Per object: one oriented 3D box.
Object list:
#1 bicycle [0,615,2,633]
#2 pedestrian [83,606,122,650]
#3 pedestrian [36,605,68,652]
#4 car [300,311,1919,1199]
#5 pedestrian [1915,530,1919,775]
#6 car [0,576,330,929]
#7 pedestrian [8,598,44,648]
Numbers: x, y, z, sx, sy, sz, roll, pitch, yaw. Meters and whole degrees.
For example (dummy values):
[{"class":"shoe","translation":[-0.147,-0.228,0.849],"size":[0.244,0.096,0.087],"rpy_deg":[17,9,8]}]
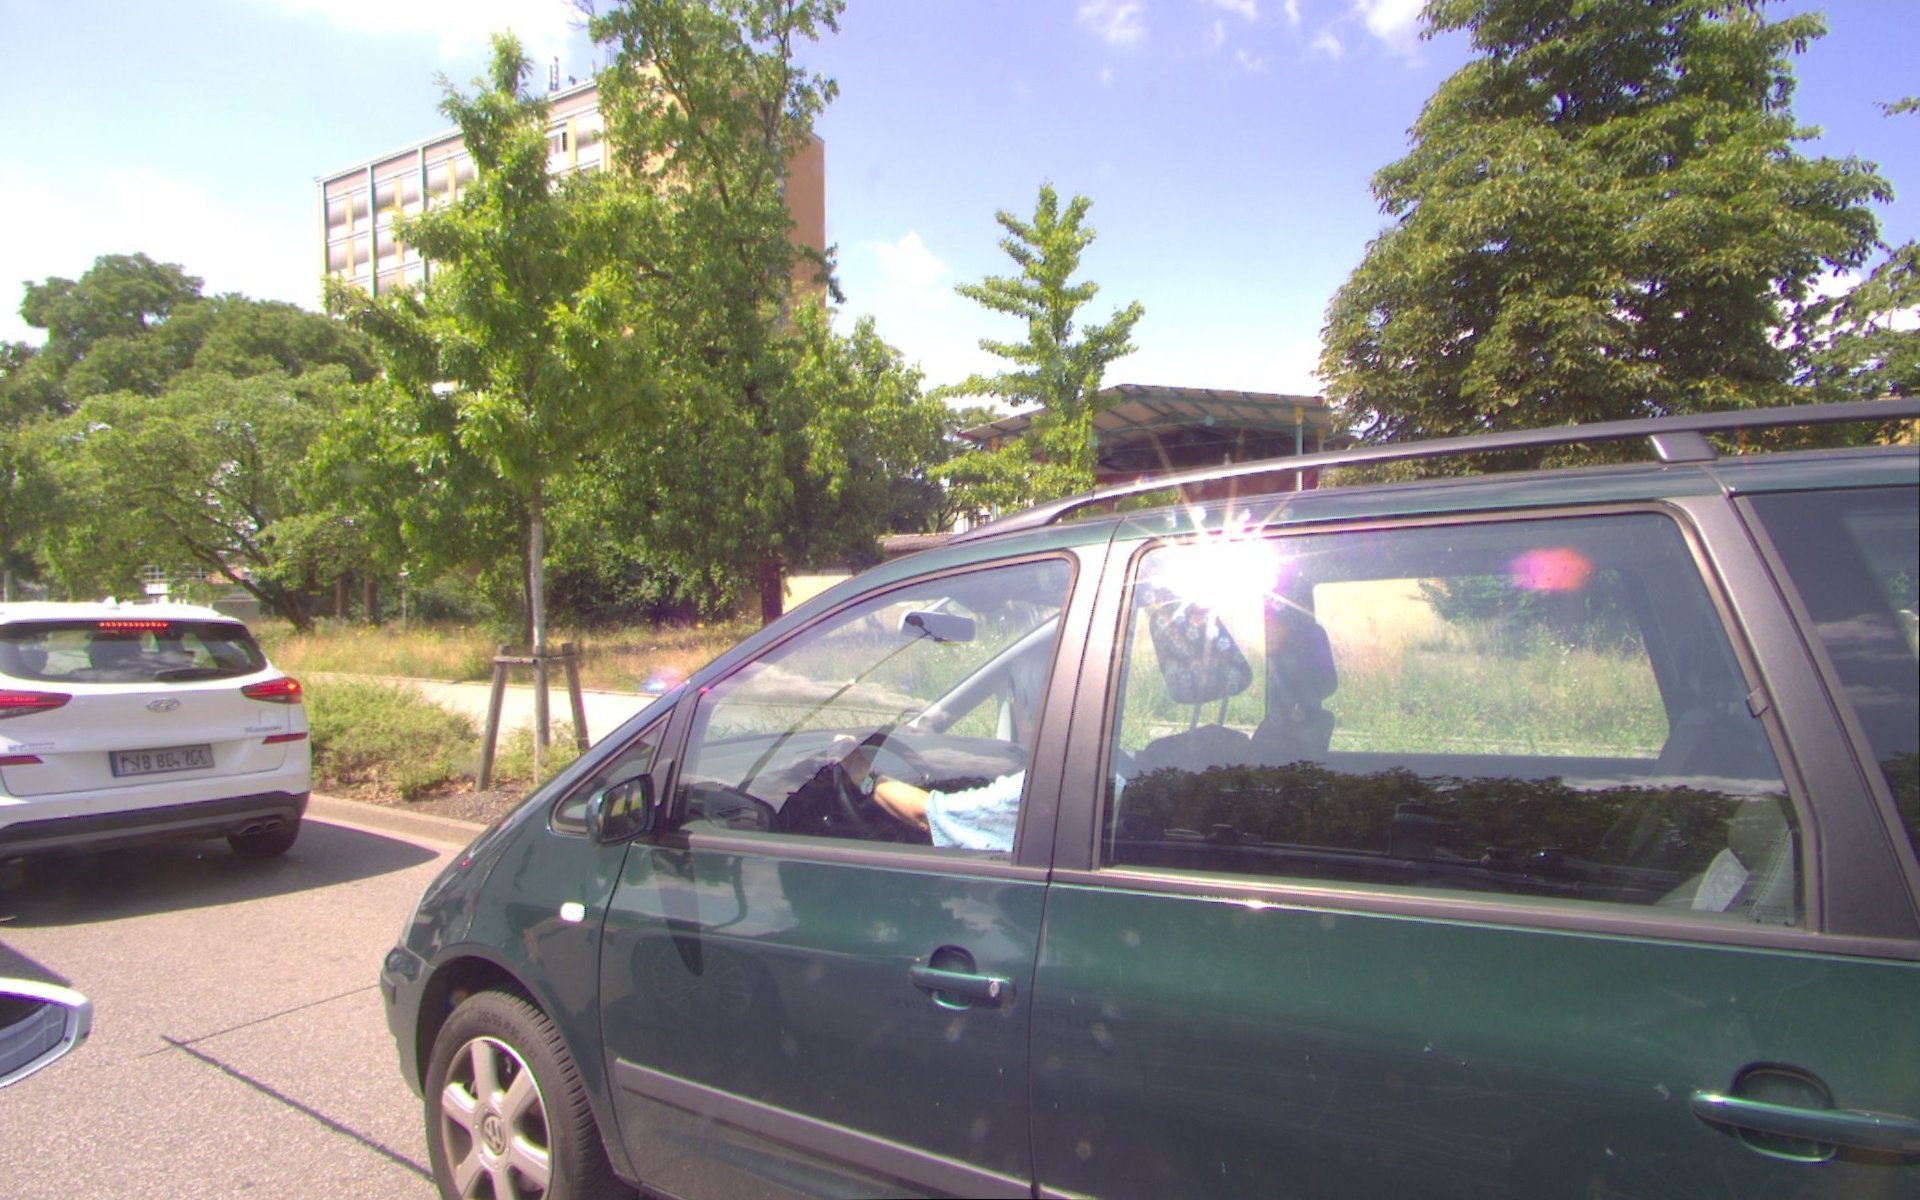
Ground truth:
[{"class":"bicycle","translation":[-57.339,1.427,59.441],"size":[1.904,1.044,0.543],"rpy_deg":[0,0,41]},{"class":"pedestrian","translation":[-30.746,0.980,35.901],"size":[0.823,1.559,0.843],"rpy_deg":[0,0,32]},{"class":"pedestrian","translation":[-39.216,1.217,43.239],"size":[0.730,2.040,0.843],"rpy_deg":[0,0,32]},{"class":"car","translation":[0.545,0.624,2.282],"size":[4.325,1.757,1.809],"rpy_deg":[0,-1,32]},{"class":"pedestrian","translation":[7.024,0.369,6.737],"size":[0.736,1.744,0.721],"rpy_deg":[0,0,33]},{"class":"car","translation":[-5.945,0.756,6.450],"size":[3.945,1.710,1.793],"rpy_deg":[0,0,34]},{"class":"pedestrian","translation":[-39.307,0.953,42.141],"size":[0.726,2.085,0.847],"rpy_deg":[0,0,9]}]
